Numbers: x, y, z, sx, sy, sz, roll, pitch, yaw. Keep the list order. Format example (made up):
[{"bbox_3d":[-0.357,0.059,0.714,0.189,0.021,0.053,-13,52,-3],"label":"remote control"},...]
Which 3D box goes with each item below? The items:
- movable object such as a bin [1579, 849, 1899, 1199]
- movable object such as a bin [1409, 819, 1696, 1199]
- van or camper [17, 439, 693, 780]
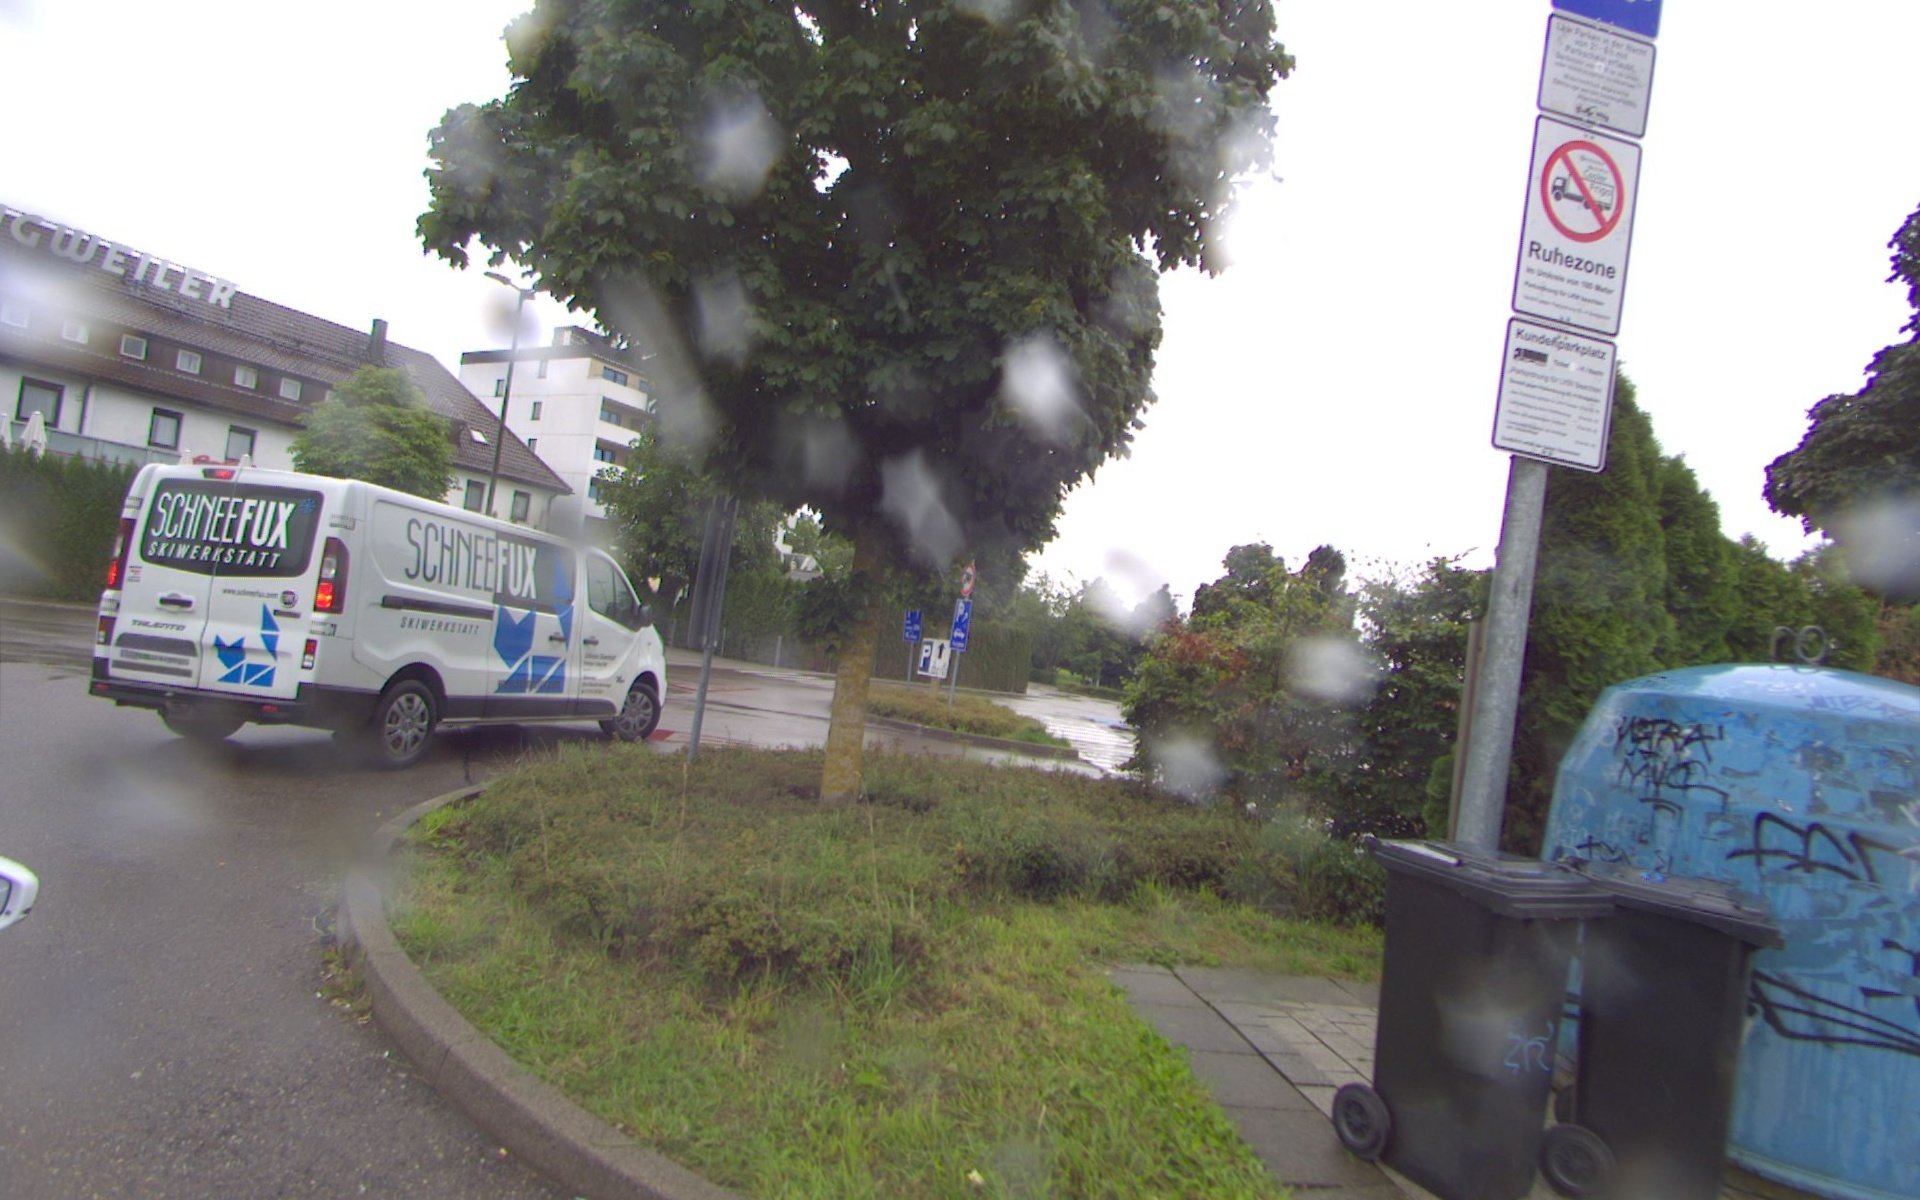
[{"bbox_3d":[2.159,1.251,2.845,0.479,0.928,0.450,7,0,14],"label":"movable object such as a bin"},{"bbox_3d":[1.620,1.161,2.820,0.479,0.950,0.450,7,0,14],"label":"movable object such as a bin"},{"bbox_3d":[-4.635,0.249,9.052,2.153,1.966,5.208,6,-4,10],"label":"van or camper"}]
